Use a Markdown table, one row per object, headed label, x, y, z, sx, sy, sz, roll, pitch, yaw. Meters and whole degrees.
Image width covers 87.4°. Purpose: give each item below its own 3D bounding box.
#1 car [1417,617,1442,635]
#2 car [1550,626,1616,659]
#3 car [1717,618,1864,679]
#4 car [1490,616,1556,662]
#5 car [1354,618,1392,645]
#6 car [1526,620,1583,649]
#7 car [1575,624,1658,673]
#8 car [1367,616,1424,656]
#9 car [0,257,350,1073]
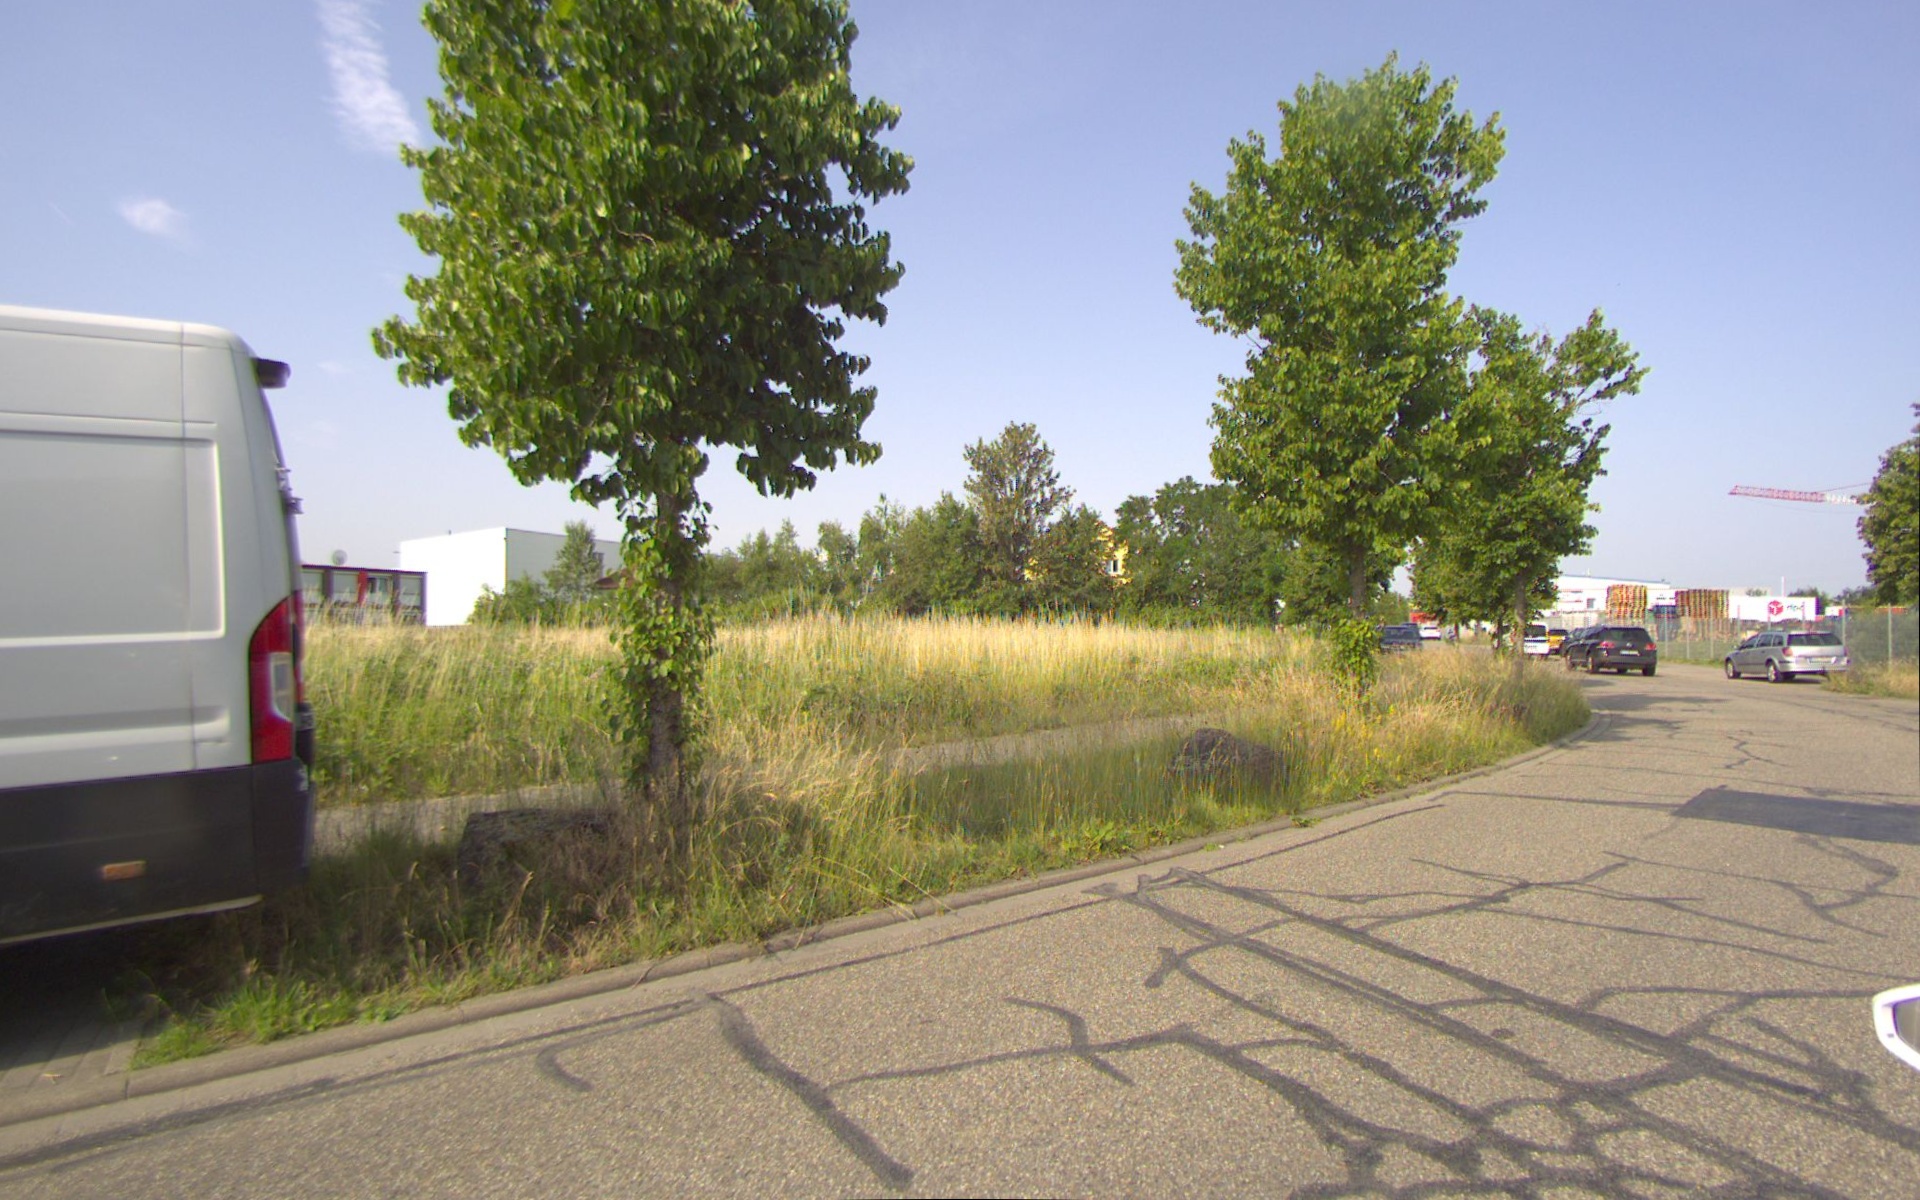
| label | x | y | z | sx | sy | sz | roll | pitch | yaw |
| --- | --- | --- | --- | --- | --- | --- | --- | --- | --- |
| car | 46.133 | 2.542 | 98.776 | 1.686 | 1.702 | 3.951 | 0 | -1 | 17 |
| car | 31.212 | 2.108 | 50.431 | 1.686 | 1.535 | 4.006 | -2 | -2 | 15 |
| car | 24.719 | 1.412 | 30.112 | 1.769 | 1.647 | 4.450 | -2 | -2 | 17 |
| car | 27.830 | 1.906 | 49.804 | 2.086 | 2.138 | 4.625 | 0 | -2 | 20 |
| car | 25.187 | 1.887 | 61.376 | 1.802 | 1.516 | 4.050 | 1 | -1 | 18 |
| car | 32.536 | 1.865 | 55.107 | 1.686 | 1.474 | 4.189 | -2 | -2 | 16 |
| car | 22.961 | 1.650 | 35.268 | 1.851 | 1.607 | 4.110 | 0 | -2 | 25 |
| car | 19.135 | 1.550 | 44.275 | 1.871 | 1.647 | 4.450 | 1 | -1 | 18 |
| car | -5.530 | 0.178 | 2.866 | 6.434 | 2.630 | 2.089 | 1 | 1 | -33 |
